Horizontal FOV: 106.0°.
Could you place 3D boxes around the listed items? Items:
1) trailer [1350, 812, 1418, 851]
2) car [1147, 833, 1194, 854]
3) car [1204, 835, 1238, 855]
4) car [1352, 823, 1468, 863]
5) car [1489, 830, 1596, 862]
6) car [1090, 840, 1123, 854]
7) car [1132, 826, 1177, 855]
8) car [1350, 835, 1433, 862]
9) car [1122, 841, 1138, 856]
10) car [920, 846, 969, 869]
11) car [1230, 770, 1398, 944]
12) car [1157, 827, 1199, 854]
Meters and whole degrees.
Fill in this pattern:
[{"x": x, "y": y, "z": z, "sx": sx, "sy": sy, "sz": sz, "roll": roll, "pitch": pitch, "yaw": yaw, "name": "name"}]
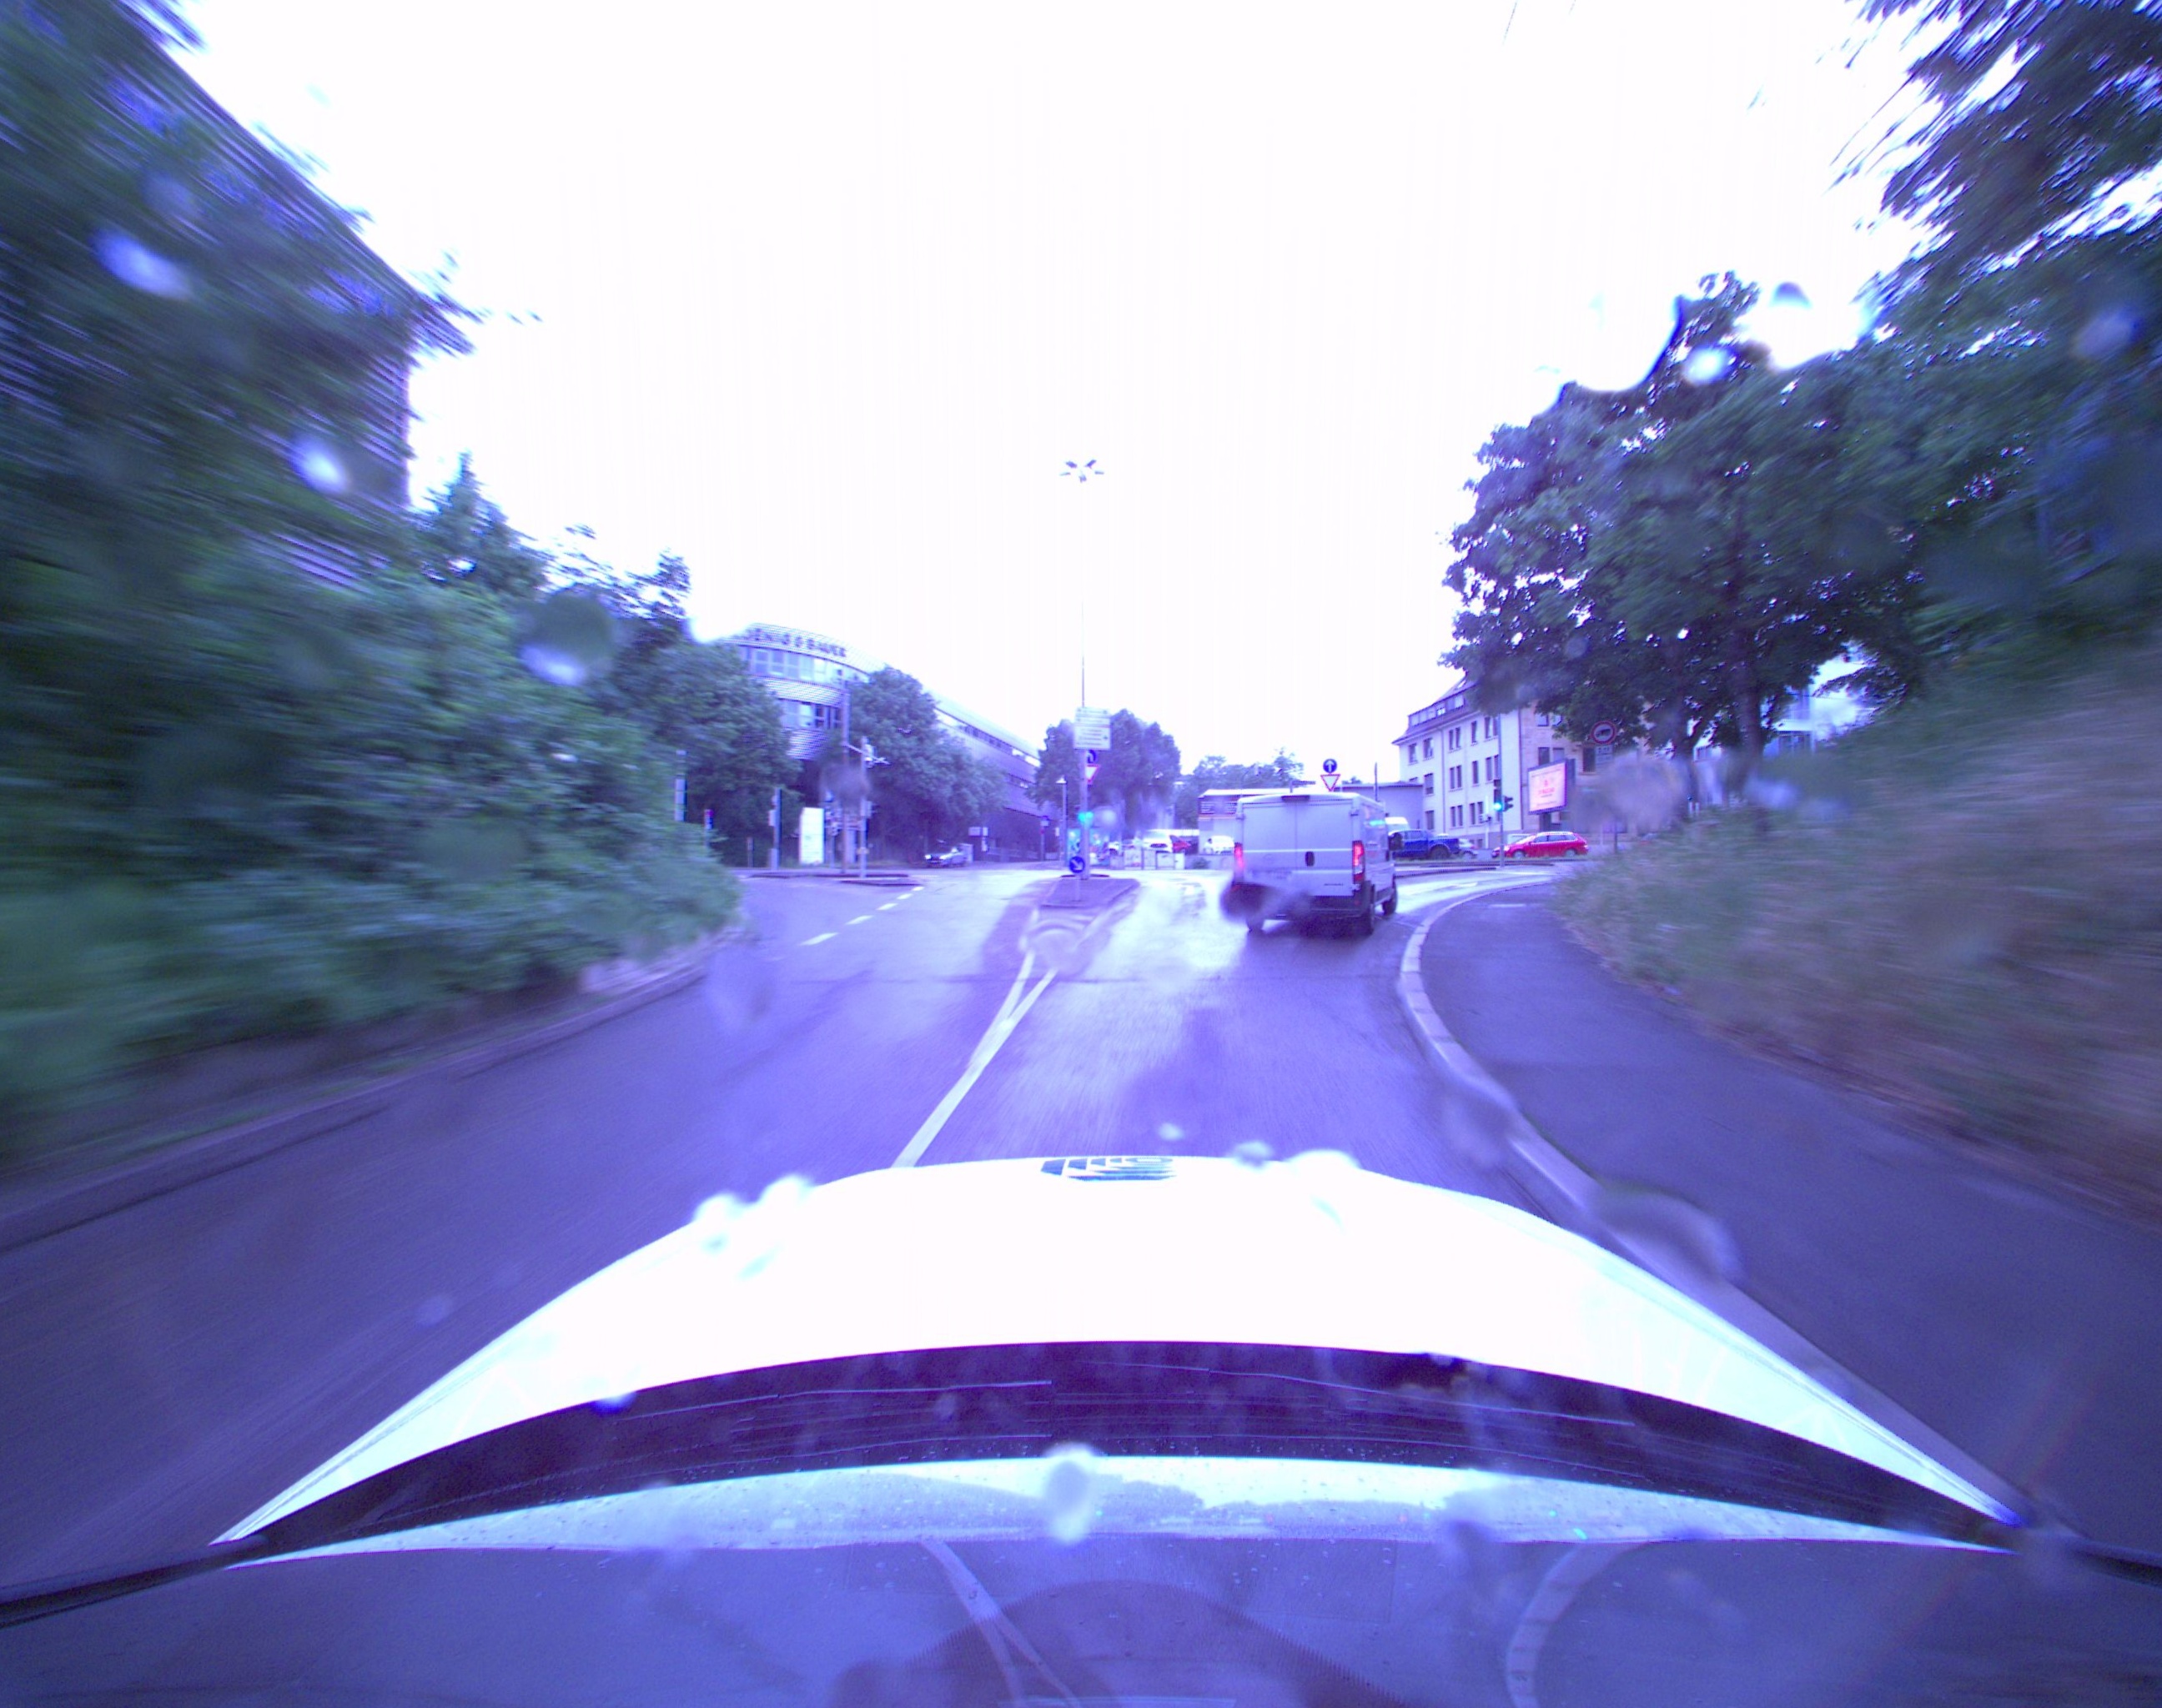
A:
[{"x": 21.863, "y": -1.528, "z": 59.143, "sx": 2.379, "sy": 2.428, "sz": 7.120, "roll": 0, "pitch": -2, "yaw": 1, "name": "trailer"}, {"x": 8.288, "y": -0.935, "z": 75.183, "sx": 4.272, "sy": 1.861, "sz": 1.745, "roll": 0, "pitch": -2, "yaw": 8, "name": "car"}, {"x": 9.721, "y": -0.653, "z": 56.824, "sx": 1.859, "sy": 1.368, "sz": 3.625, "roll": -1, "pitch": 1, "yaw": 2, "name": "car"}, {"x": 16.807, "y": -0.522, "z": 41.841, "sx": 5.133, "sy": 1.819, "sz": 1.941, "roll": -2, "pitch": -2, "yaw": 2, "name": "car"}, {"x": 23.407, "y": -0.396, "z": 41.420, "sx": 4.411, "sy": 1.531, "sz": 1.812, "roll": 0, "pitch": -2, "yaw": 1, "name": "car"}, {"x": 2.090, "y": -0.556, "z": 67.623, "sx": 2.707, "sy": 1.105, "sz": 1.196, "roll": 0, "pitch": -2, "yaw": -3, "name": "car"}, {"x": 5.095, "y": -0.880, "z": 56.990, "sx": 2.210, "sy": 1.802, "sz": 5.361, "roll": 0, "pitch": -2, "yaw": -5, "name": "car"}, {"x": 17.088, "y": -0.296, "z": 44.942, "sx": 4.042, "sy": 1.459, "sz": 1.547, "roll": 0, "pitch": -2, "yaw": 1, "name": "car"}, {"x": 4.764, "y": -0.514, "z": 78.587, "sx": 1.201, "sy": 1.303, "sz": 2.345, "roll": 0, "pitch": -2, "yaw": 11, "name": "car"}, {"x": -10.348, "y": 0.227, "z": 62.059, "sx": 2.013, "sy": 1.599, "sz": 4.399, "roll": -1, "pitch": 1, "yaw": 14, "name": "car"}, {"x": 4.322, "y": -0.052, "z": 14.453, "sx": 2.031, "sy": 2.516, "sz": 4.973, "roll": 0, "pitch": 2, "yaw": 26, "name": "car"}, {"x": 9.359, "y": -1.252, "z": 78.520, "sx": 3.951, "sy": 2.498, "sz": 1.658, "roll": 0, "pitch": -2, "yaw": 8, "name": "car"}]
